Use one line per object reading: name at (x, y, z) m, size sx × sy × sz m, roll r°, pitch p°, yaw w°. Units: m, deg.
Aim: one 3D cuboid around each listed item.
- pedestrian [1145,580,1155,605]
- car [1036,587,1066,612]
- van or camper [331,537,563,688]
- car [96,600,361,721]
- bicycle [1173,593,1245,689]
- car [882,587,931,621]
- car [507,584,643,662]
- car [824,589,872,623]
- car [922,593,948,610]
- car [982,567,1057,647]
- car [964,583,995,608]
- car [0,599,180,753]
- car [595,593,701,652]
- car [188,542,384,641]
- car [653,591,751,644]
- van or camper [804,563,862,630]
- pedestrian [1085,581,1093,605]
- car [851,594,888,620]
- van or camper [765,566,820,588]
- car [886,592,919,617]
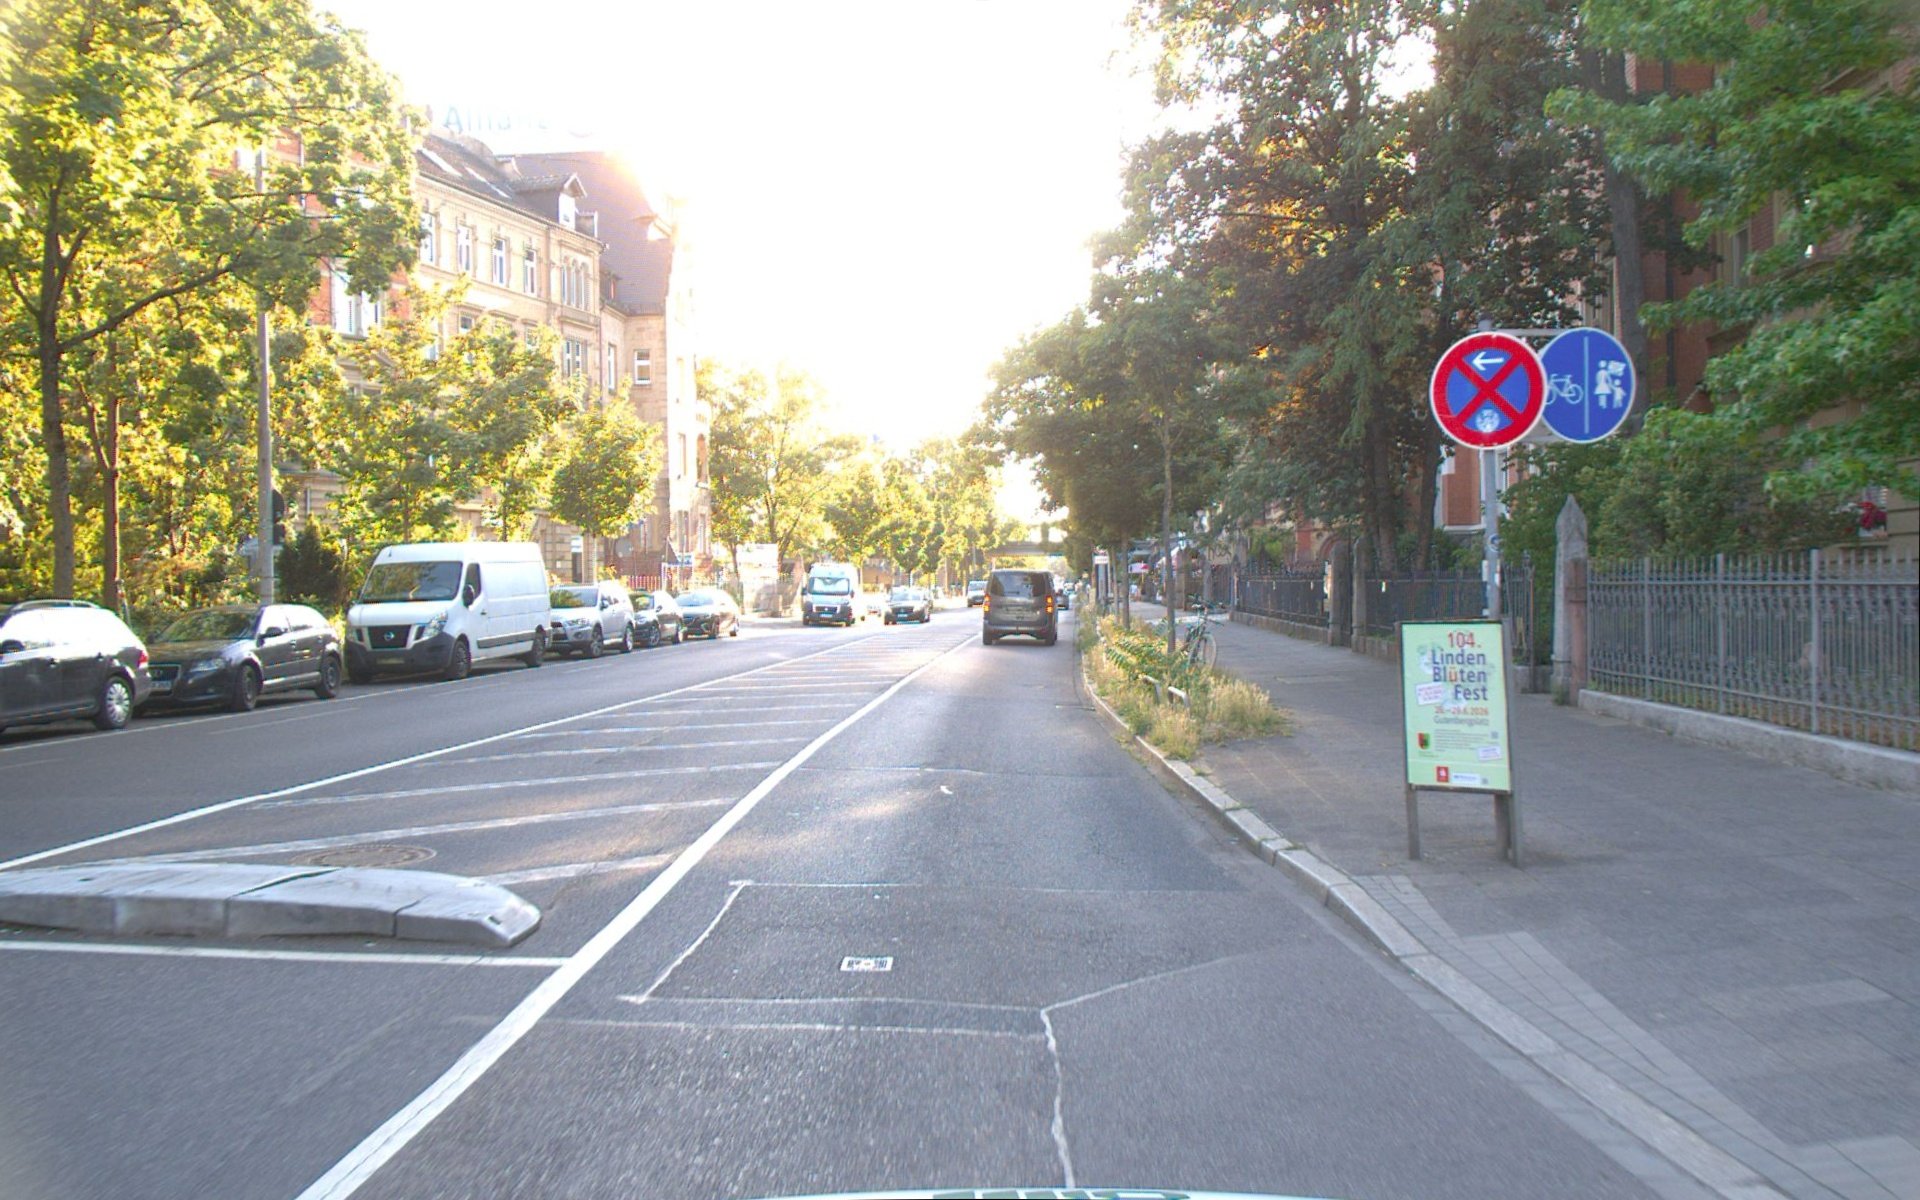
pedestrian at (12.961, -0.518, 112.823) m, size 0.631 × 1.661 × 0.656 m, roll 1°, pitch 0°, yaw 4°
car at (6.056, -0.048, 110.524) m, size 1.952 × 1.662 × 4.002 m, roll -1°, pitch 0°, yaw 3°
van or camper at (-9.491, 0.183, 31.303) m, size 2.047 × 2.511 × 6.308 m, roll -2°, pitch 0°, yaw 3°
car at (-10.047, 0.772, 23.090) m, size 1.594 × 1.454 × 4.244 m, roll -2°, pitch 0°, yaw 3°
bicycle at (3.243, 0.511, 21.702) m, size 0.633 × 1.187 × 1.931 m, roll 1°, pitch 0°, yaw 0°
car at (-2.358, 0.141, 73.681) m, size 1.729 × 1.426 × 4.547 m, roll -1°, pitch 0°, yaw 3°
car at (-8.865, 0.488, 38.506) m, size 1.826 × 1.673 × 4.573 m, roll -2°, pitch 0°, yaw 3°
car at (-5.274, 0.265, 78.300) m, size 1.709 × 1.561 × 4.304 m, roll 1°, pitch 0°, yaw 3°
car at (-2.285, 0.139, 151.866) m, size 1.951 × 1.439 × 4.239 m, roll 1°, pitch 0°, yaw 4°
car at (1.592, 0.166, 43.210) m, size 1.848 × 1.958 × 3.841 m, roll -1°, pitch 0°, yaw 3°
car at (1.551, -0.361, 127.372) m, size 1.951 × 1.863 × 5.172 m, roll -2°, pitch 0°, yaw 5°
car at (-10.401, 0.783, 17.780) m, size 1.589 × 1.533 × 4.546 m, roll -1°, pitch 0°, yaw 4°
car at (-8.309, 0.562, 44.393) m, size 1.699 × 1.471 × 4.627 m, roll -1°, pitch 0°, yaw 4°
car at (-20.216, -0.273, 49.886) m, size 2.079 × 2.787 × 5.302 m, roll -2°, pitch 0°, yaw 29°
car at (-7.819, 0.493, 50.577) m, size 1.952 × 1.509 × 4.831 m, roll -1°, pitch 0°, yaw 4°
van or camper at (-5.401, -0.161, 71.065) m, size 1.953 × 2.715 × 6.038 m, roll 1°, pitch 0°, yaw 0°
pedestrian at (10.393, -0.589, 133.678) m, size 0.495 × 1.922 × 0.544 m, roll 1°, pitch 0°, yaw -11°
car at (-4.645, 0.325, 85.350) m, size 1.504 × 1.270 × 3.615 m, roll 1°, pitch 0°, yaw 3°
van or camper at (-20.607, -2.822, 203.620) m, size 6.426 × 2.566 × 2.450 m, roll 1°, pitch 0°, yaw 2°
car at (-3.479, 0.257, 100.716) m, size 1.661 × 1.477 × 4.002 m, roll 1°, pitch 0°, yaw 3°
